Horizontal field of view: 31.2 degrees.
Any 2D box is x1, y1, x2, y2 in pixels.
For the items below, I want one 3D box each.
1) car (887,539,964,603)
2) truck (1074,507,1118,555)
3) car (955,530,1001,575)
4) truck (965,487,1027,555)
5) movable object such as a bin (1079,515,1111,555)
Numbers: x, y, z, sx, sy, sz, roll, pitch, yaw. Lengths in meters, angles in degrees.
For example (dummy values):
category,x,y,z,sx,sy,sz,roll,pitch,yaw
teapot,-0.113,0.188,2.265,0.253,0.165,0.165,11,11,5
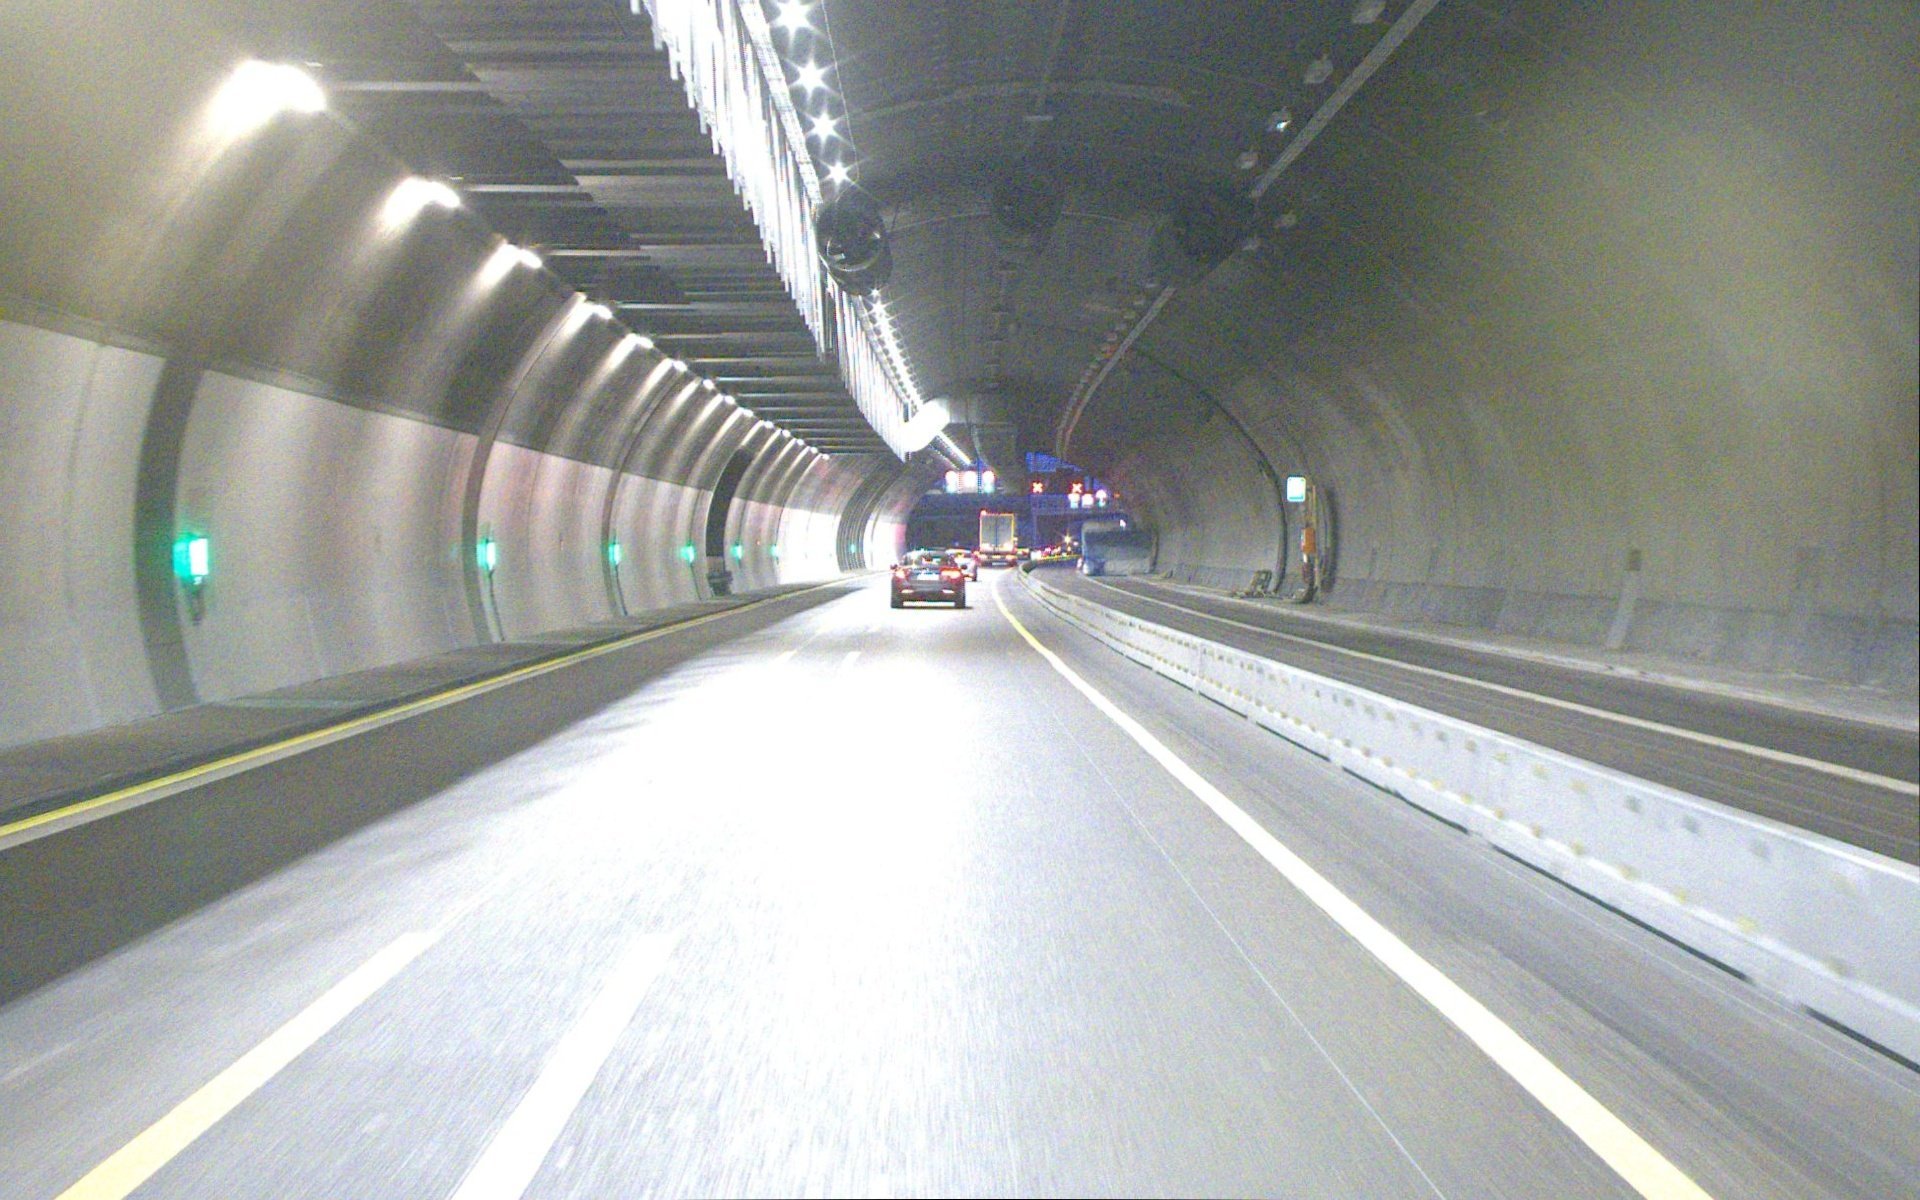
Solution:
category,x,y,z,sx,sy,sz,roll,pitch,yaw
car,-0.893,-0.745,87.075,1.887,1.601,4.000,0,1,-1
truck,9.306,-4.689,235.591,2.892,3.261,8.401,0,1,2
car,0.793,-2.156,155.326,1.993,2.007,4.000,0,1,-1
truck,2.747,-5.922,259.556,4.546,4.970,9.599,0,1,1
movable object such as a bin,9.620,-4.623,245.203,2.238,2.784,7.233,0,1,2
